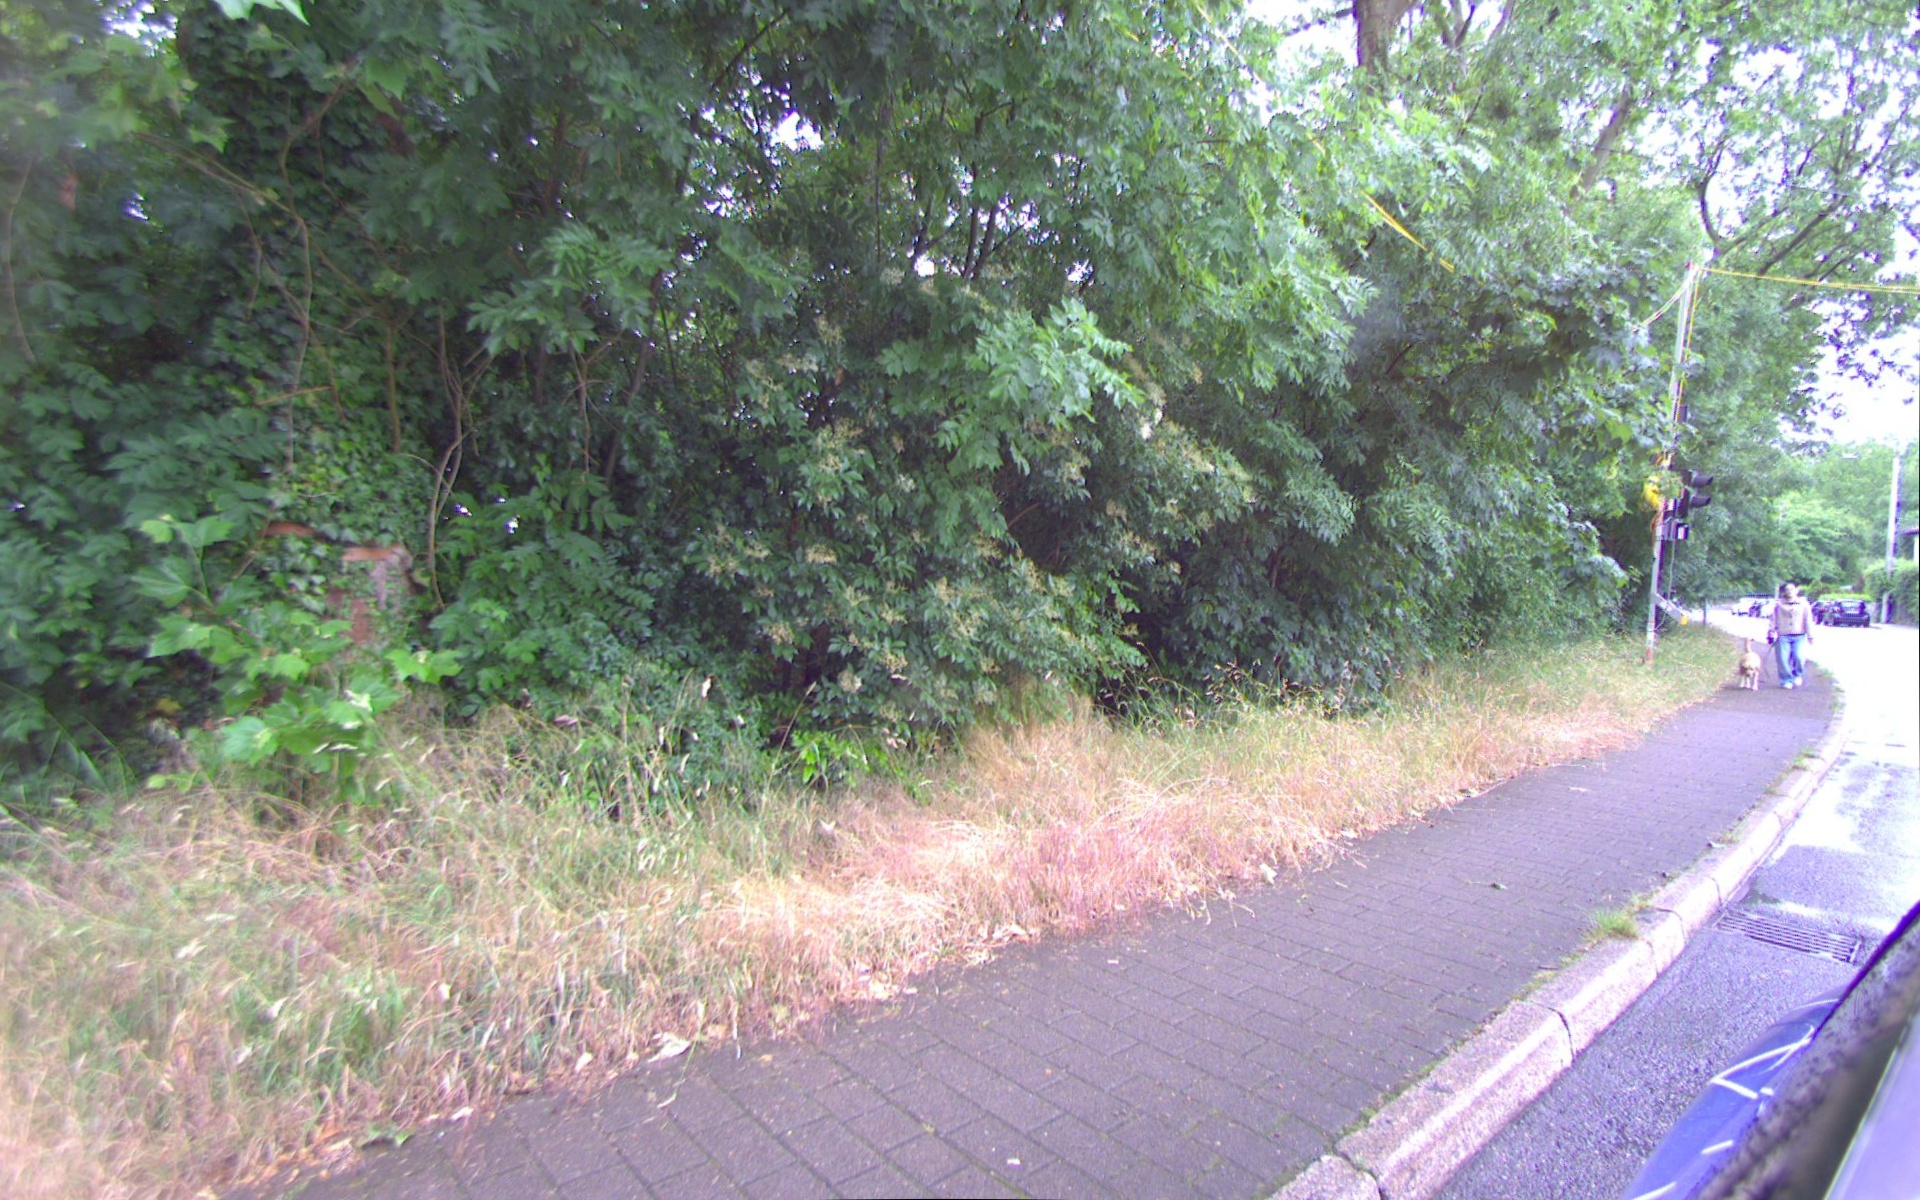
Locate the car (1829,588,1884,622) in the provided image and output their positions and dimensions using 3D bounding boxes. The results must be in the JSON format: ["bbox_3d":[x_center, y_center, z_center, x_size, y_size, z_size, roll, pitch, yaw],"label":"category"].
[{"bbox_3d":[51.065,0.278,57.708,1.869,1.848,4.075,1,1,35],"label":"car"}]

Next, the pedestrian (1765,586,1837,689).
[{"bbox_3d":[12.879,0.545,15.498,0.771,1.518,0.734,0,0,-42],"label":"pedestrian"}]

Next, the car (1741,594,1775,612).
[{"bbox_3d":[64.947,0.215,82.373,1.676,1.445,3.734,1,1,31],"label":"car"}]

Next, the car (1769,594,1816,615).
[{"bbox_3d":[60.753,0.292,73.920,2.055,1.504,4.508,1,1,33],"label":"car"}]
